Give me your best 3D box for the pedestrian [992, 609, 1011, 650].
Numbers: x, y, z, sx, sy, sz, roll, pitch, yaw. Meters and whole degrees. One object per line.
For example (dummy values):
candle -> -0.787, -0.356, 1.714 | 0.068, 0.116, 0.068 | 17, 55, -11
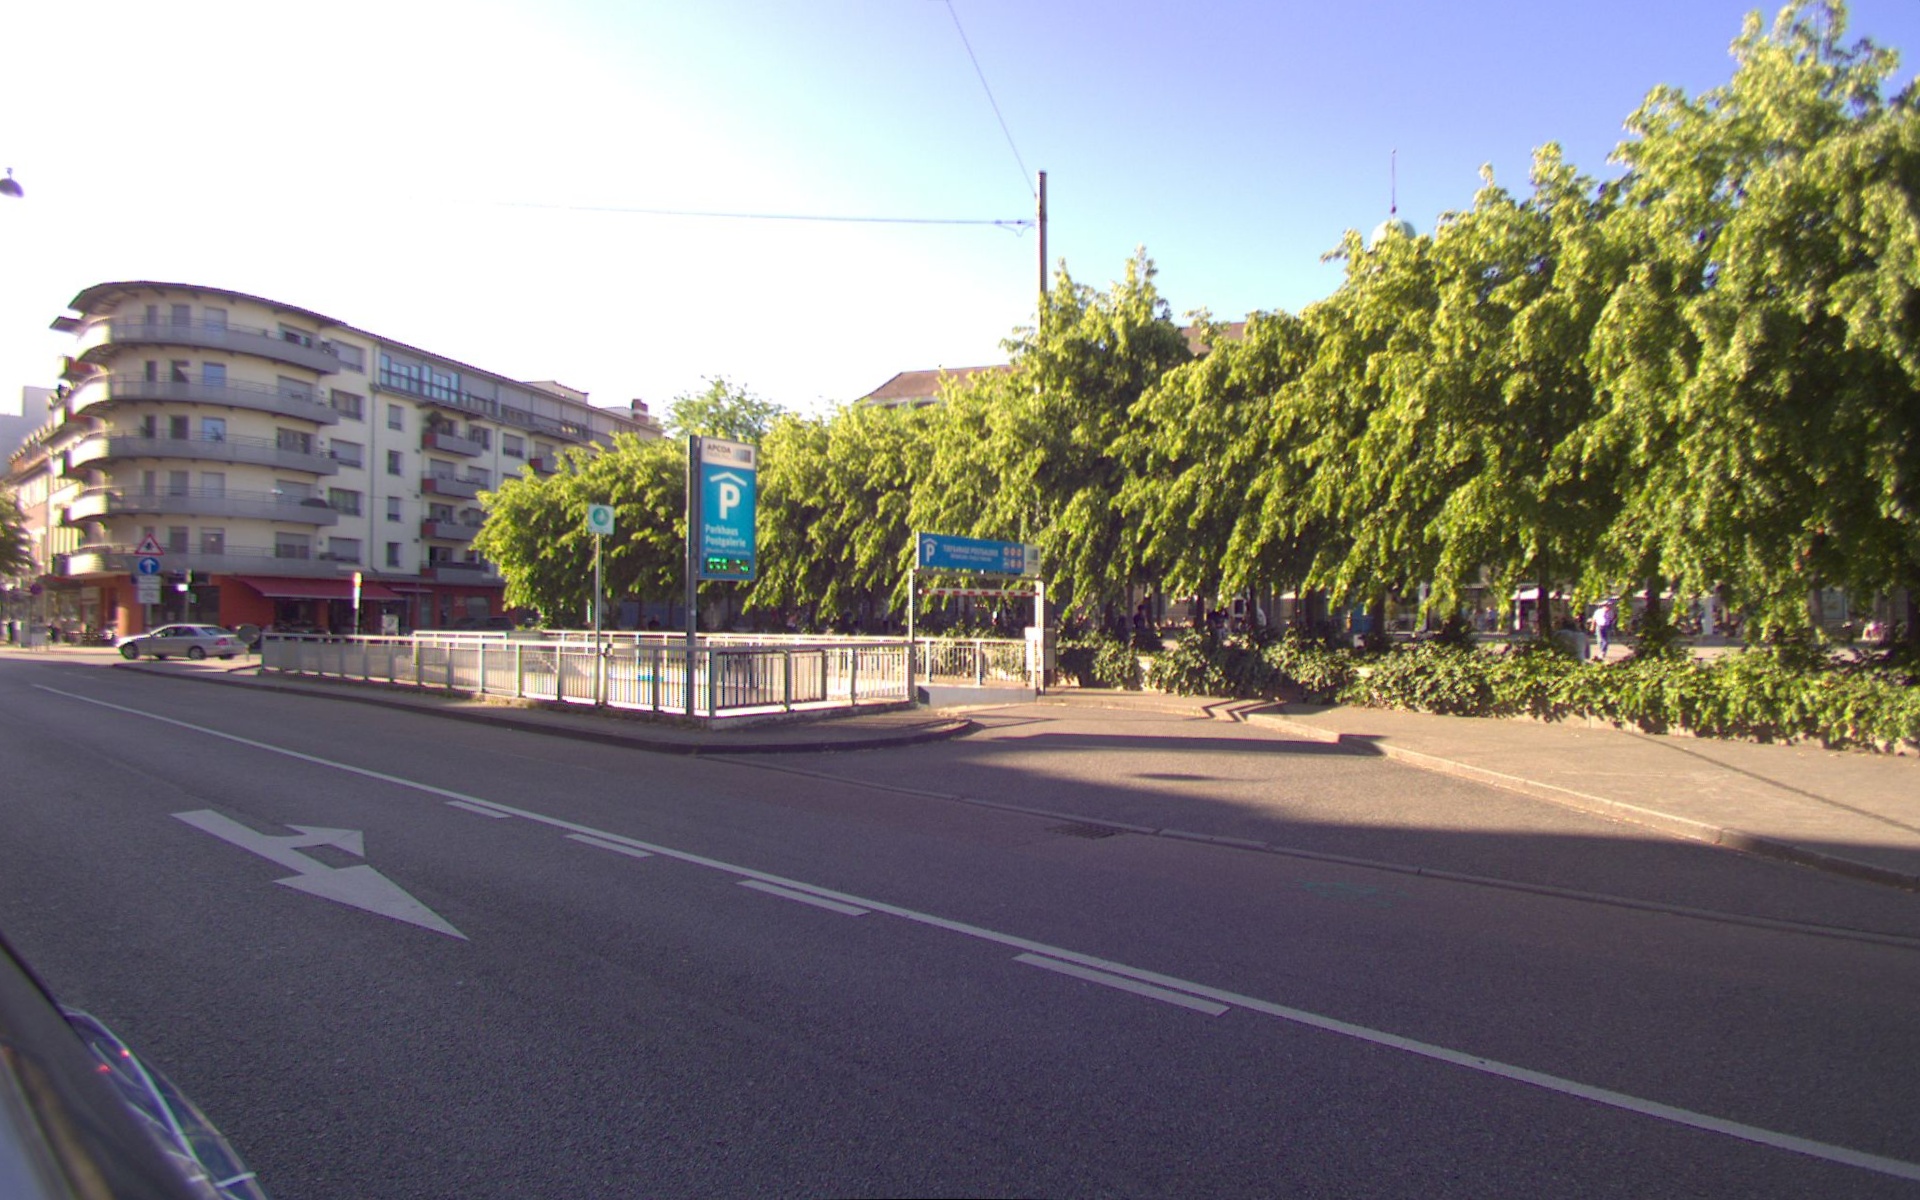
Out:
pedestrian -> 1.759, 1.240, 42.953 | 0.604, 1.734, 0.642 | -1, 0, 21

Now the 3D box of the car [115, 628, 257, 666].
car -> -30.491, 1.844, 39.948 | 4.205, 1.363, 1.824 | 2, -2, 0

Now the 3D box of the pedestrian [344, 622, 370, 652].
pedestrian -> -32.705, 1.990, 54.918 | 0.877, 1.607, 0.861 | -1, 0, 2

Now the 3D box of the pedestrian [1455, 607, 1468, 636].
pedestrian -> 29.946, 1.281, 60.470 | 0.643, 1.734, 0.603 | -1, 0, 26

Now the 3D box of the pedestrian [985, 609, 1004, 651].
pedestrian -> 1.446, 1.247, 42.289 | 0.604, 1.734, 0.642 | -1, 0, 21

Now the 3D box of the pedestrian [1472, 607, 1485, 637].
pedestrian -> 30.353, 1.296, 59.207 | 0.643, 1.734, 0.603 | -1, 0, 26

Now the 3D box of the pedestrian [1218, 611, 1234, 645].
pedestrian -> 13.761, 1.439, 52.299 | 0.606, 1.734, 0.640 | -1, 0, 31

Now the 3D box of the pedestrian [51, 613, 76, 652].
pedestrian -> -46.648, 1.677, 52.666 | 0.888, 2.029, 0.850 | -1, 0, 40

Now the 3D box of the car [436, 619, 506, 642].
car -> -30.507, 1.894, 63.225 | 1.742, 1.311, 3.977 | -1, -1, 17

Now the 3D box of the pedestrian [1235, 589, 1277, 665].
pedestrian -> 6.591, 0.586, 22.553 | 0.645, 1.661, 0.626 | -1, 0, -35

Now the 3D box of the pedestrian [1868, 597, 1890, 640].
pedestrian -> 42.013, 0.841, 46.273 | 0.676, 1.963, 0.632 | -1, 0, 38

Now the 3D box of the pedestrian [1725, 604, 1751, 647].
pedestrian -> 31.585, 1.042, 41.087 | 0.641, 1.734, 0.605 | -1, 0, 18

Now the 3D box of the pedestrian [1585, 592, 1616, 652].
pedestrian -> 18.890, 0.645, 29.853 | 0.643, 1.734, 0.604 | -1, 0, 22
